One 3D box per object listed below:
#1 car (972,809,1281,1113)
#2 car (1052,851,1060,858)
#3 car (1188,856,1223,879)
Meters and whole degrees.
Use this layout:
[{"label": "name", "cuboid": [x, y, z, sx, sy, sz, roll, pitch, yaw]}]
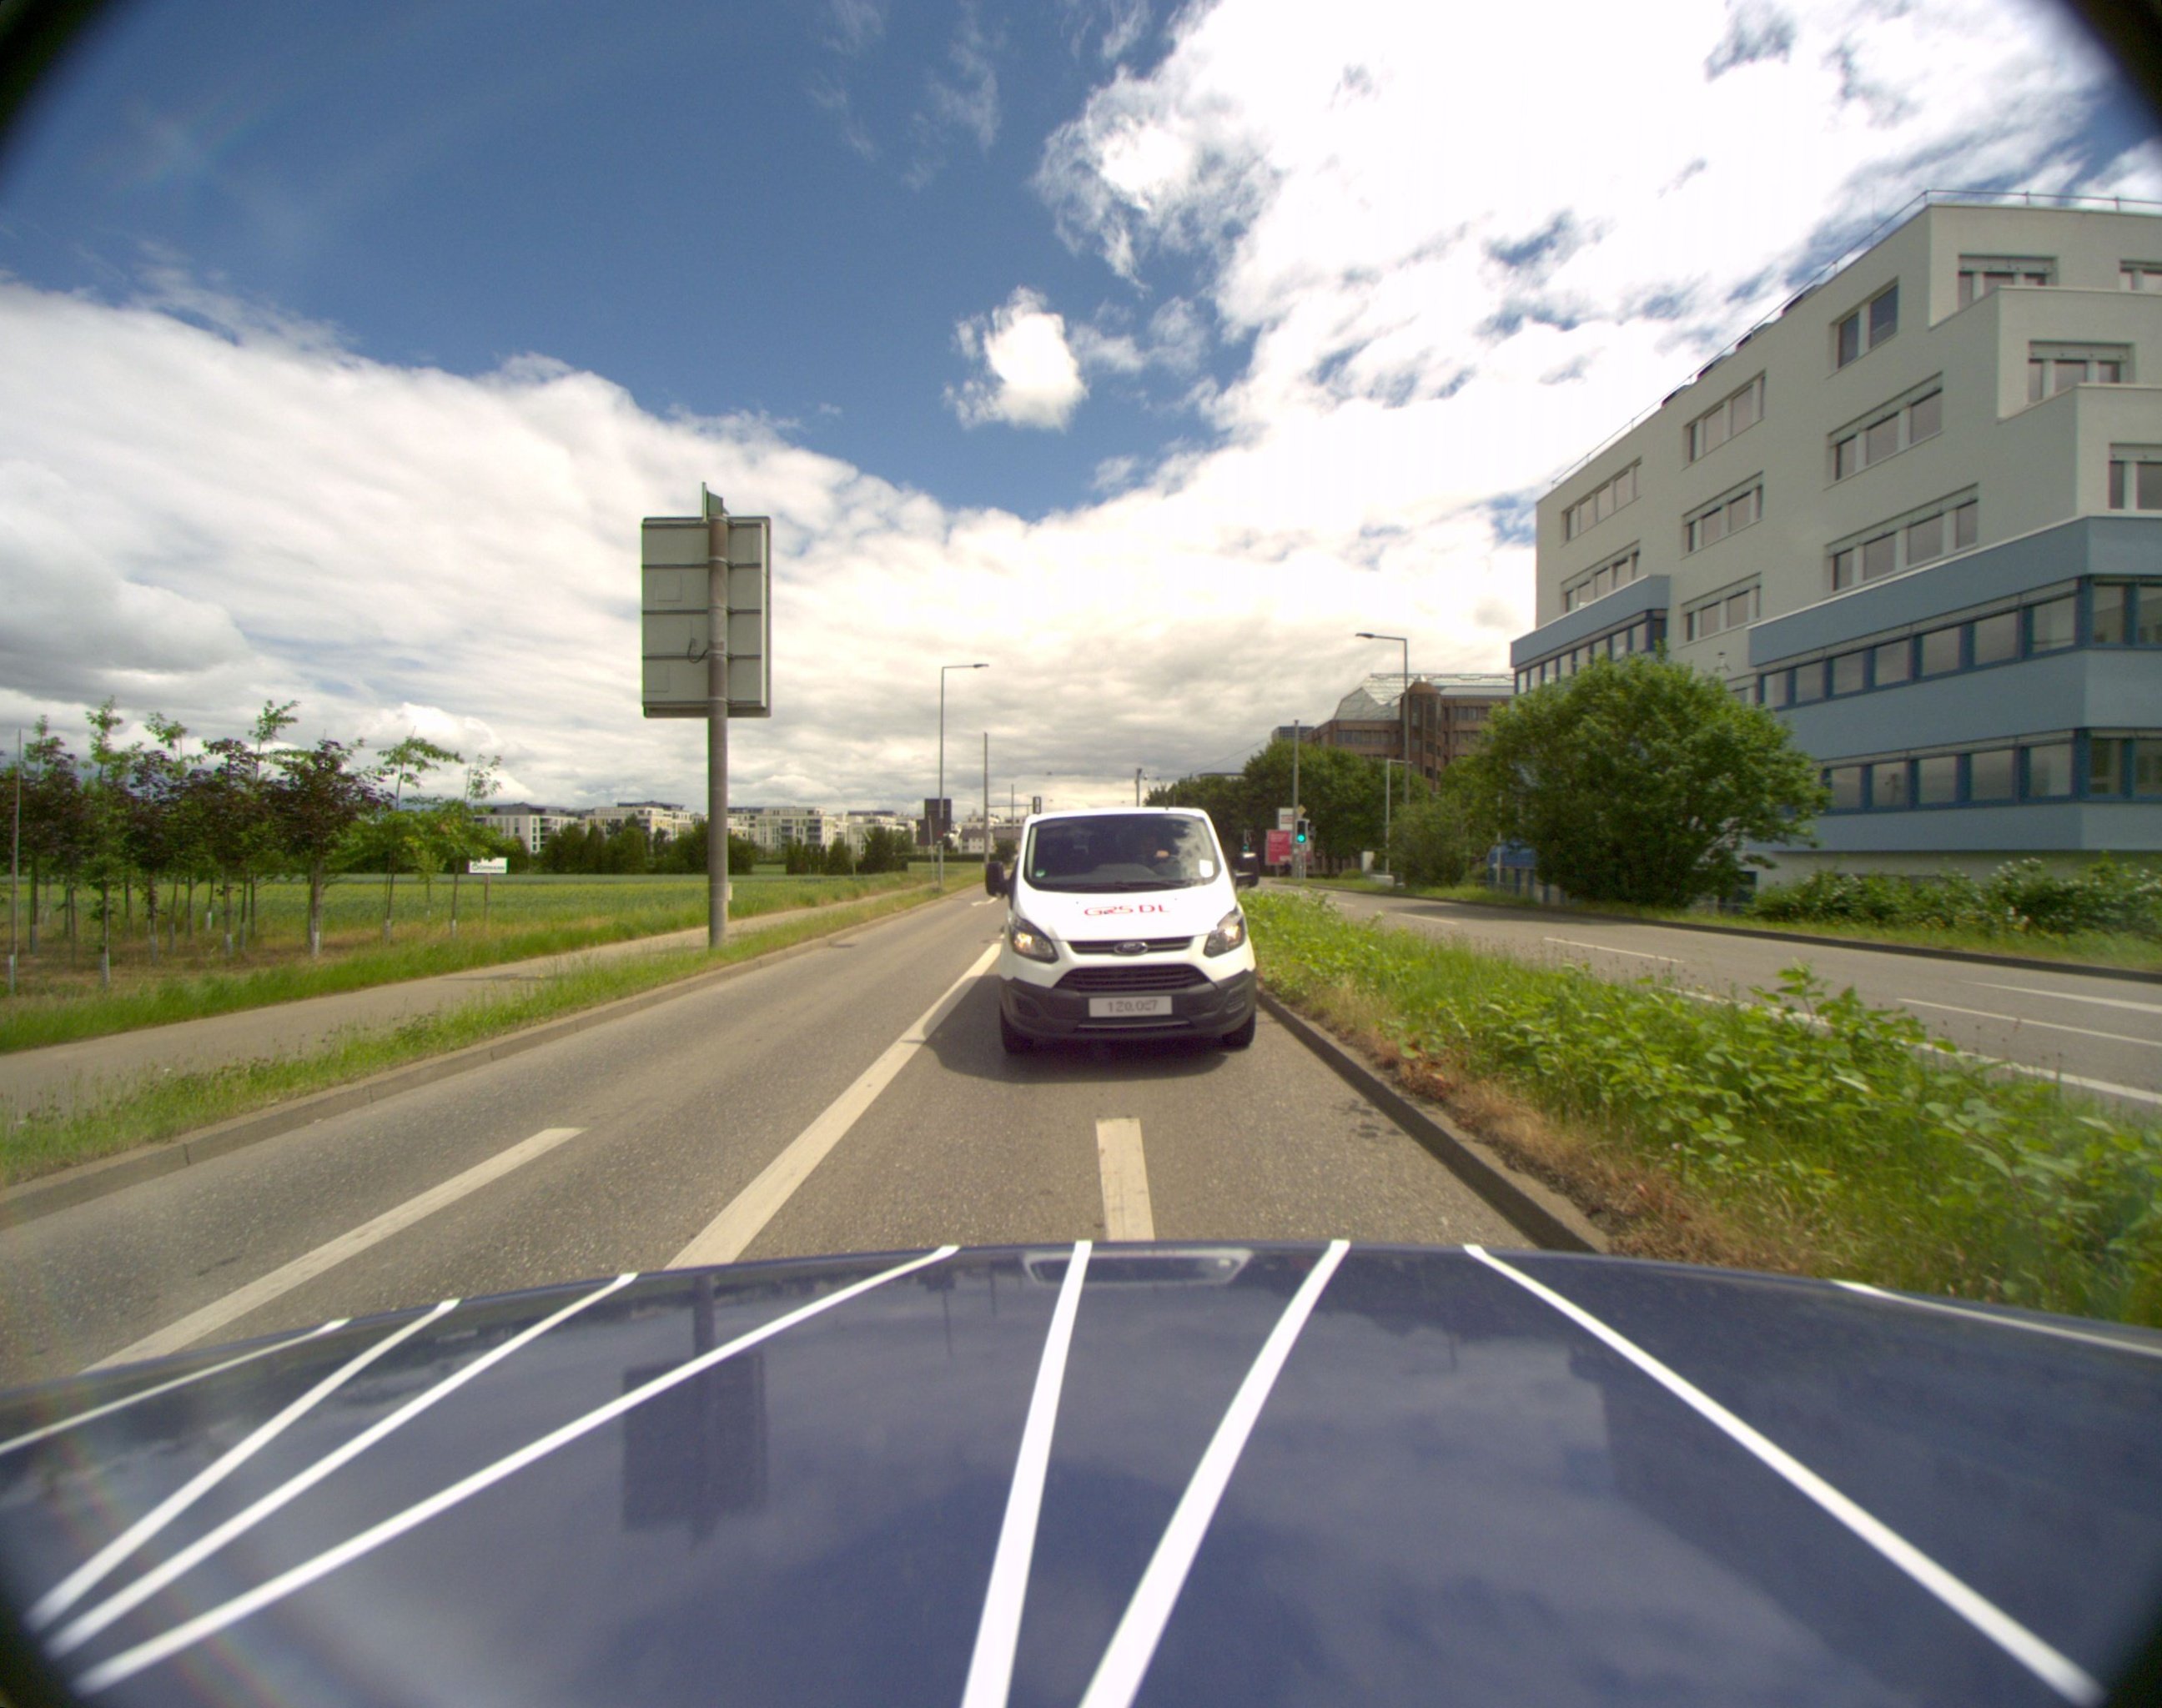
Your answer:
[{"label": "car", "cuboid": [0.332, 0.699, 7.482, 1.968, 1.938, 5.055, -2, 0, 1]}, {"label": "car", "cuboid": [-5.376, 0.155, 163.571, 1.682, 1.410, 3.739, -1, 1, -1]}, {"label": "car", "cuboid": [8.860, 0.913, 54.339, 1.650, 1.495, 3.449, -2, 1, -4]}]
